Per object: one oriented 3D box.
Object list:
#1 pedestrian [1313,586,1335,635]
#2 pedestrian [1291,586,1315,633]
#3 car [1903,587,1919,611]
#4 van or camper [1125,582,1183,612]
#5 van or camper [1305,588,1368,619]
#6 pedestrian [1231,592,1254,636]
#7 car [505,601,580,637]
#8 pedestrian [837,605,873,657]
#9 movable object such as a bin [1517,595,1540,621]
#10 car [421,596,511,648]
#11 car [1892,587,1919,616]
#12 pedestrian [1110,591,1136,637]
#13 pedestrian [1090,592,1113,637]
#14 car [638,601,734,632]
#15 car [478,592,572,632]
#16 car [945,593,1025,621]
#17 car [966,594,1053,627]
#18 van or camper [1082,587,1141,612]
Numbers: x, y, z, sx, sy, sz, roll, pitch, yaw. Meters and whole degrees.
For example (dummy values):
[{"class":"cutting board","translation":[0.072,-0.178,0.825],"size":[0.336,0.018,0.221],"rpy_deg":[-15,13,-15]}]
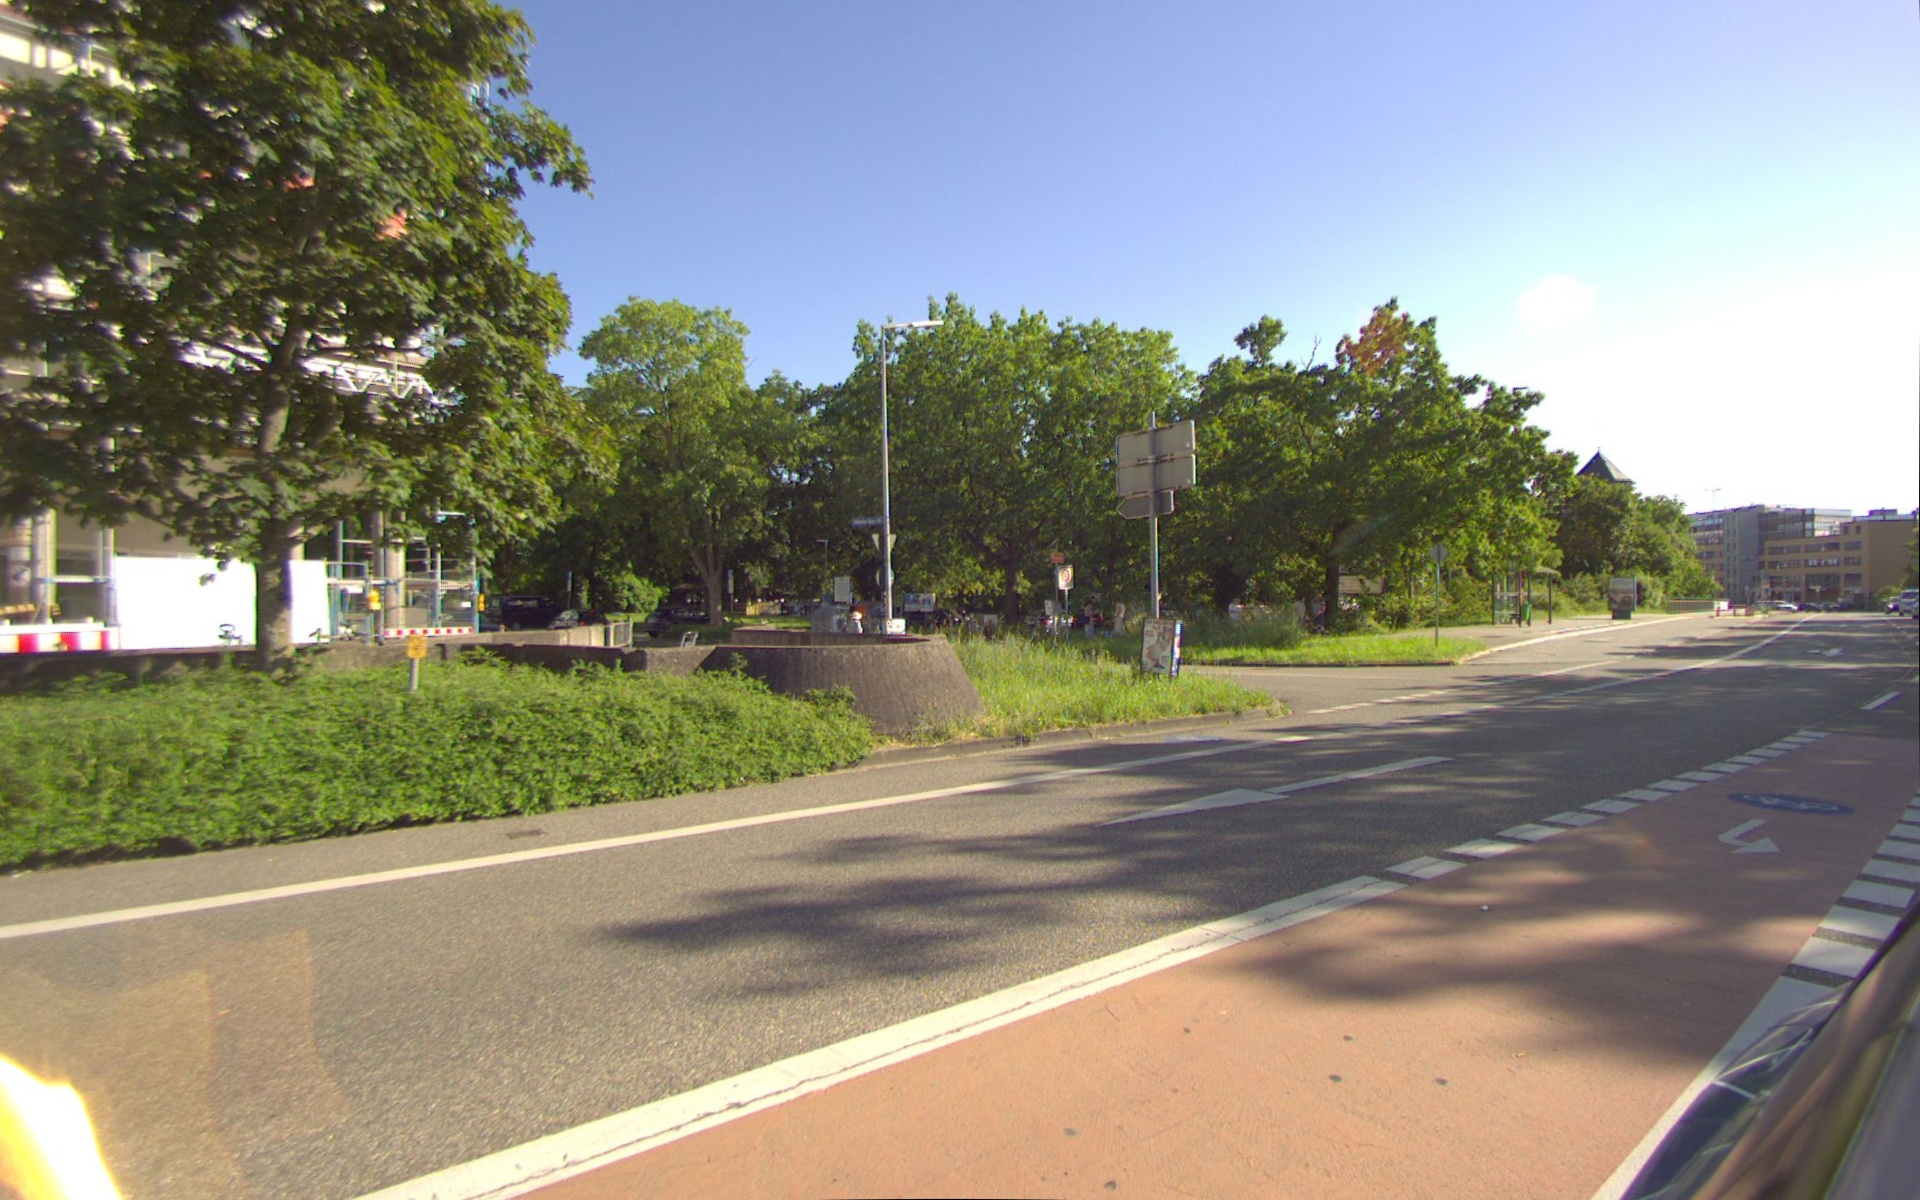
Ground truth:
[{"class":"pedestrian","translation":[12.922,0.375,35.925],"size":[0.602,1.722,0.404],"rpy_deg":[-1,-1,42]},{"class":"pedestrian","translation":[12.198,0.338,35.985],"size":[0.622,1.655,0.543],"rpy_deg":[-1,0,43]},{"class":"car","translation":[67.298,-0.064,70.683],"size":[3.931,1.569,1.742],"rpy_deg":[3,-4,-43]},{"class":"van or camper","translation":[15.099,-0.246,78.527],"size":[2.444,2.186,5.258],"rpy_deg":[-1,0,36]},{"class":"van or camper","translation":[24.621,0.205,66.068],"size":[2.445,1.937,5.255],"rpy_deg":[-1,0,38]},{"class":"pedestrian","translation":[10.050,0.481,36.025],"size":[0.603,1.537,0.527],"rpy_deg":[0,-1,-45]},{"class":"car","translation":[-18.852,0.830,45.672],"size":[3.544,1.522,1.656],"rpy_deg":[0,0,40]},{"class":"pedestrian","translation":[-3.144,0.912,30.395],"size":[0.647,1.516,0.898],"rpy_deg":[-1,0,34]},{"class":"movable object such as a bin","translation":[23.890,0.330,42.515],"size":[0.726,1.043,0.569],"rpy_deg":[-1,0,42]},{"class":"car","translation":[-20.563,0.899,42.095],"size":[3.982,2.039,1.971],"rpy_deg":[-1,0,41]},{"class":"car","translation":[48.863,0.061,51.645],"size":[1.778,1.423,3.935],"rpy_deg":[-1,0,45]},{"class":"pedestrian","translation":[5.992,0.520,37.258],"size":[0.701,1.640,0.559],"rpy_deg":[-2,-1,37]},{"class":"pedestrian","translation":[5.287,0.547,37.804],"size":[0.595,1.640,0.559],"rpy_deg":[-2,-1,37]},{"class":"car","translation":[-13.036,0.787,48.264],"size":[3.930,1.314,1.997],"rpy_deg":[-2,0,-40]},{"class":"car","translation":[-23.770,0.626,55.380],"size":[1.994,2.099,4.282],"rpy_deg":[-1,0,45]},{"class":"car","translation":[1.218,0.334,49.257],"size":[3.630,1.290,1.602],"rpy_deg":[-1,2,37]},{"class":"car","translation":[2.191,0.462,44.945],"size":[3.567,1.331,1.602],"rpy_deg":[-1,2,37]},{"class":"van or camper","translation":[12.138,-0.022,80.816],"size":[2.445,1.937,5.255],"rpy_deg":[-1,0,38]}]
